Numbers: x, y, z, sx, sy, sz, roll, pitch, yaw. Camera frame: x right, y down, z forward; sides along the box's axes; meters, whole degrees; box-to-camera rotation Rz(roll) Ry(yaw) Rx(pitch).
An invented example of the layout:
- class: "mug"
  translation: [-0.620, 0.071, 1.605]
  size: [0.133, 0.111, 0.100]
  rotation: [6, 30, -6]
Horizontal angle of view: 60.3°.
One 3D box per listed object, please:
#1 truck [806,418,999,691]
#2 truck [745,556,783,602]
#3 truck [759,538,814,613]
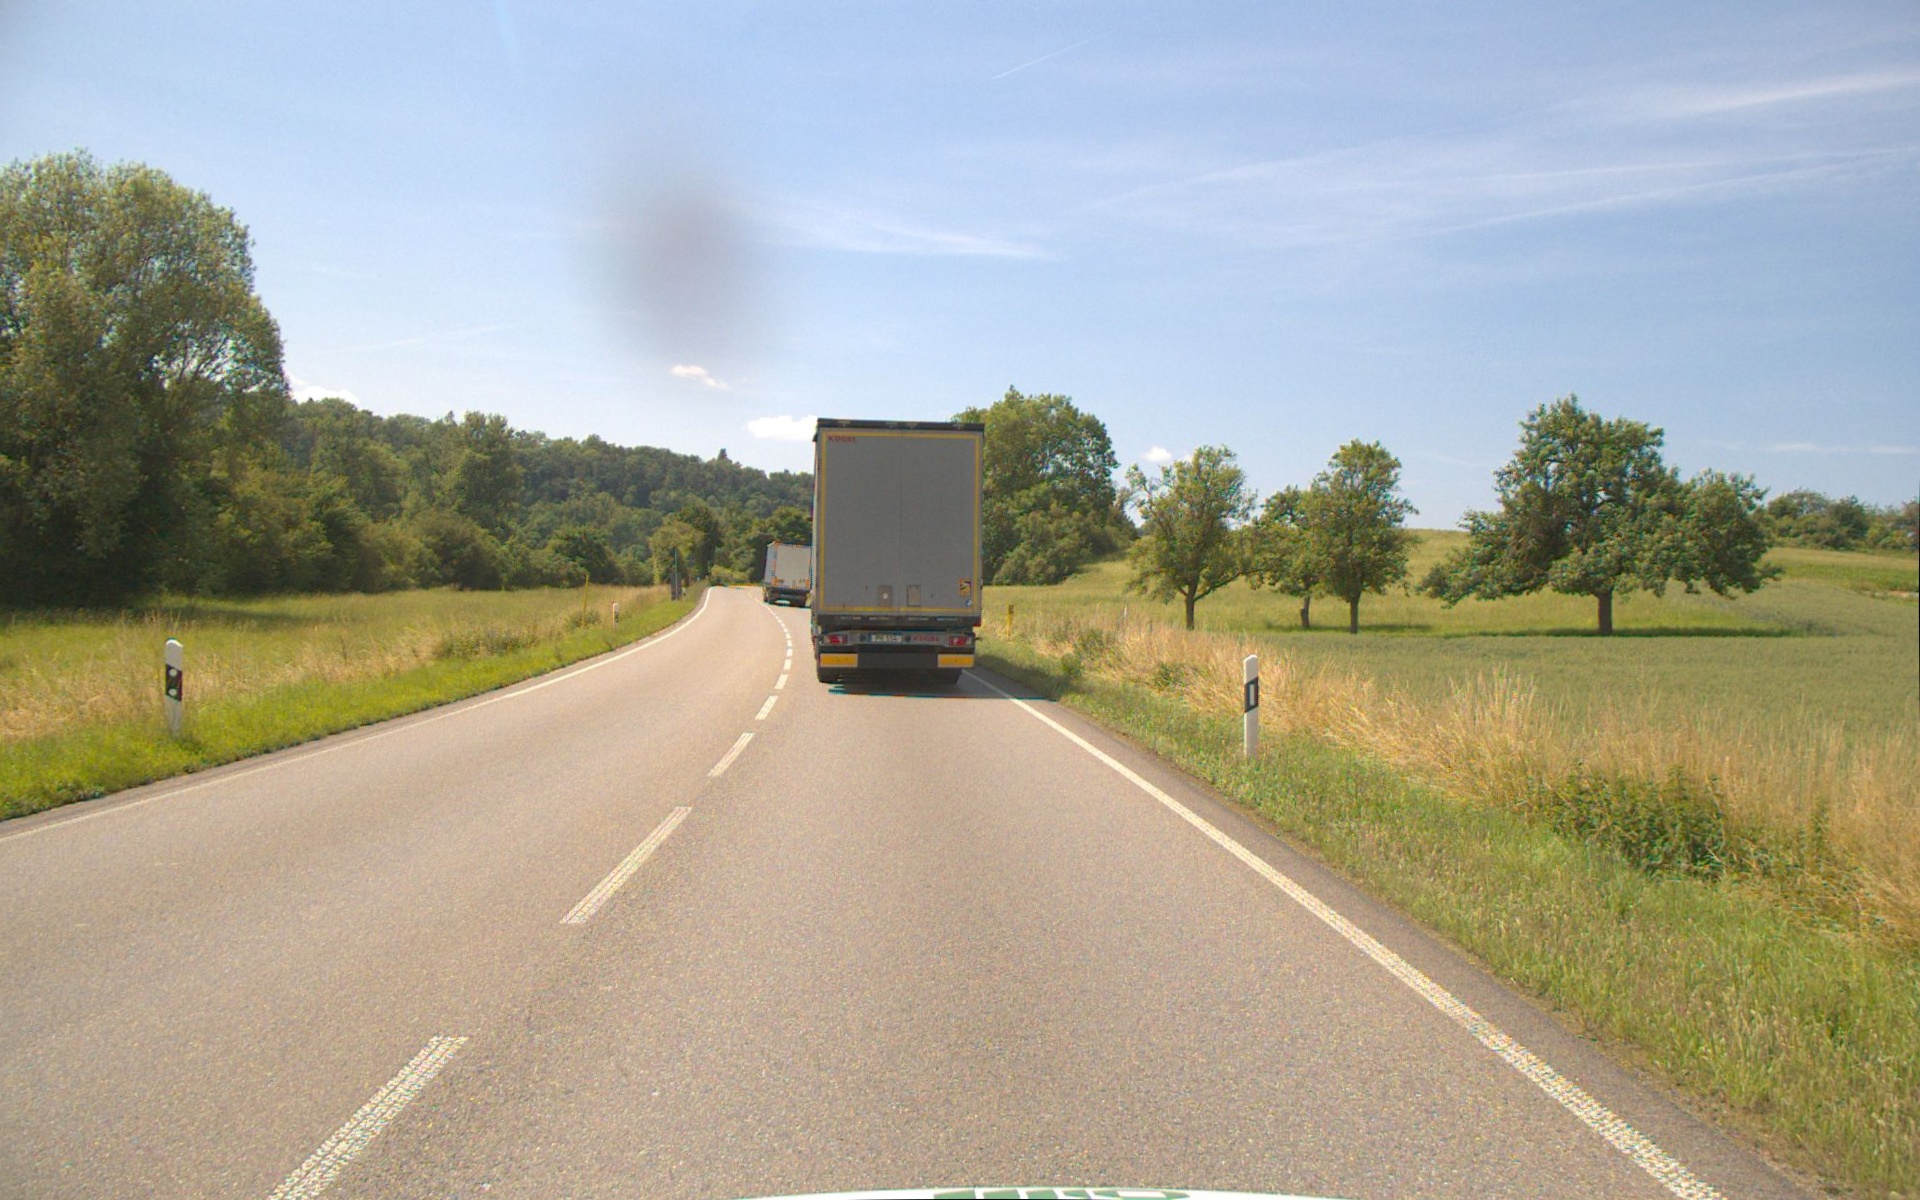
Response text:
- class: "truck"
  translation: [-1.295, -0.708, 29.321]
  size: [2.754, 4.015, 9.579]
  rotation: [1, 0, -6]
- class: "truck"
  translation: [-20.543, -2.102, 173.494]
  size: [3.568, 4.201, 13.076]
  rotation: [4, -2, -7]
- class: "truck"
  translation: [-12.092, -1.631, 114.059]
  size: [2.906, 4.664, 16.285]
  rotation: [3, 0, -8]
